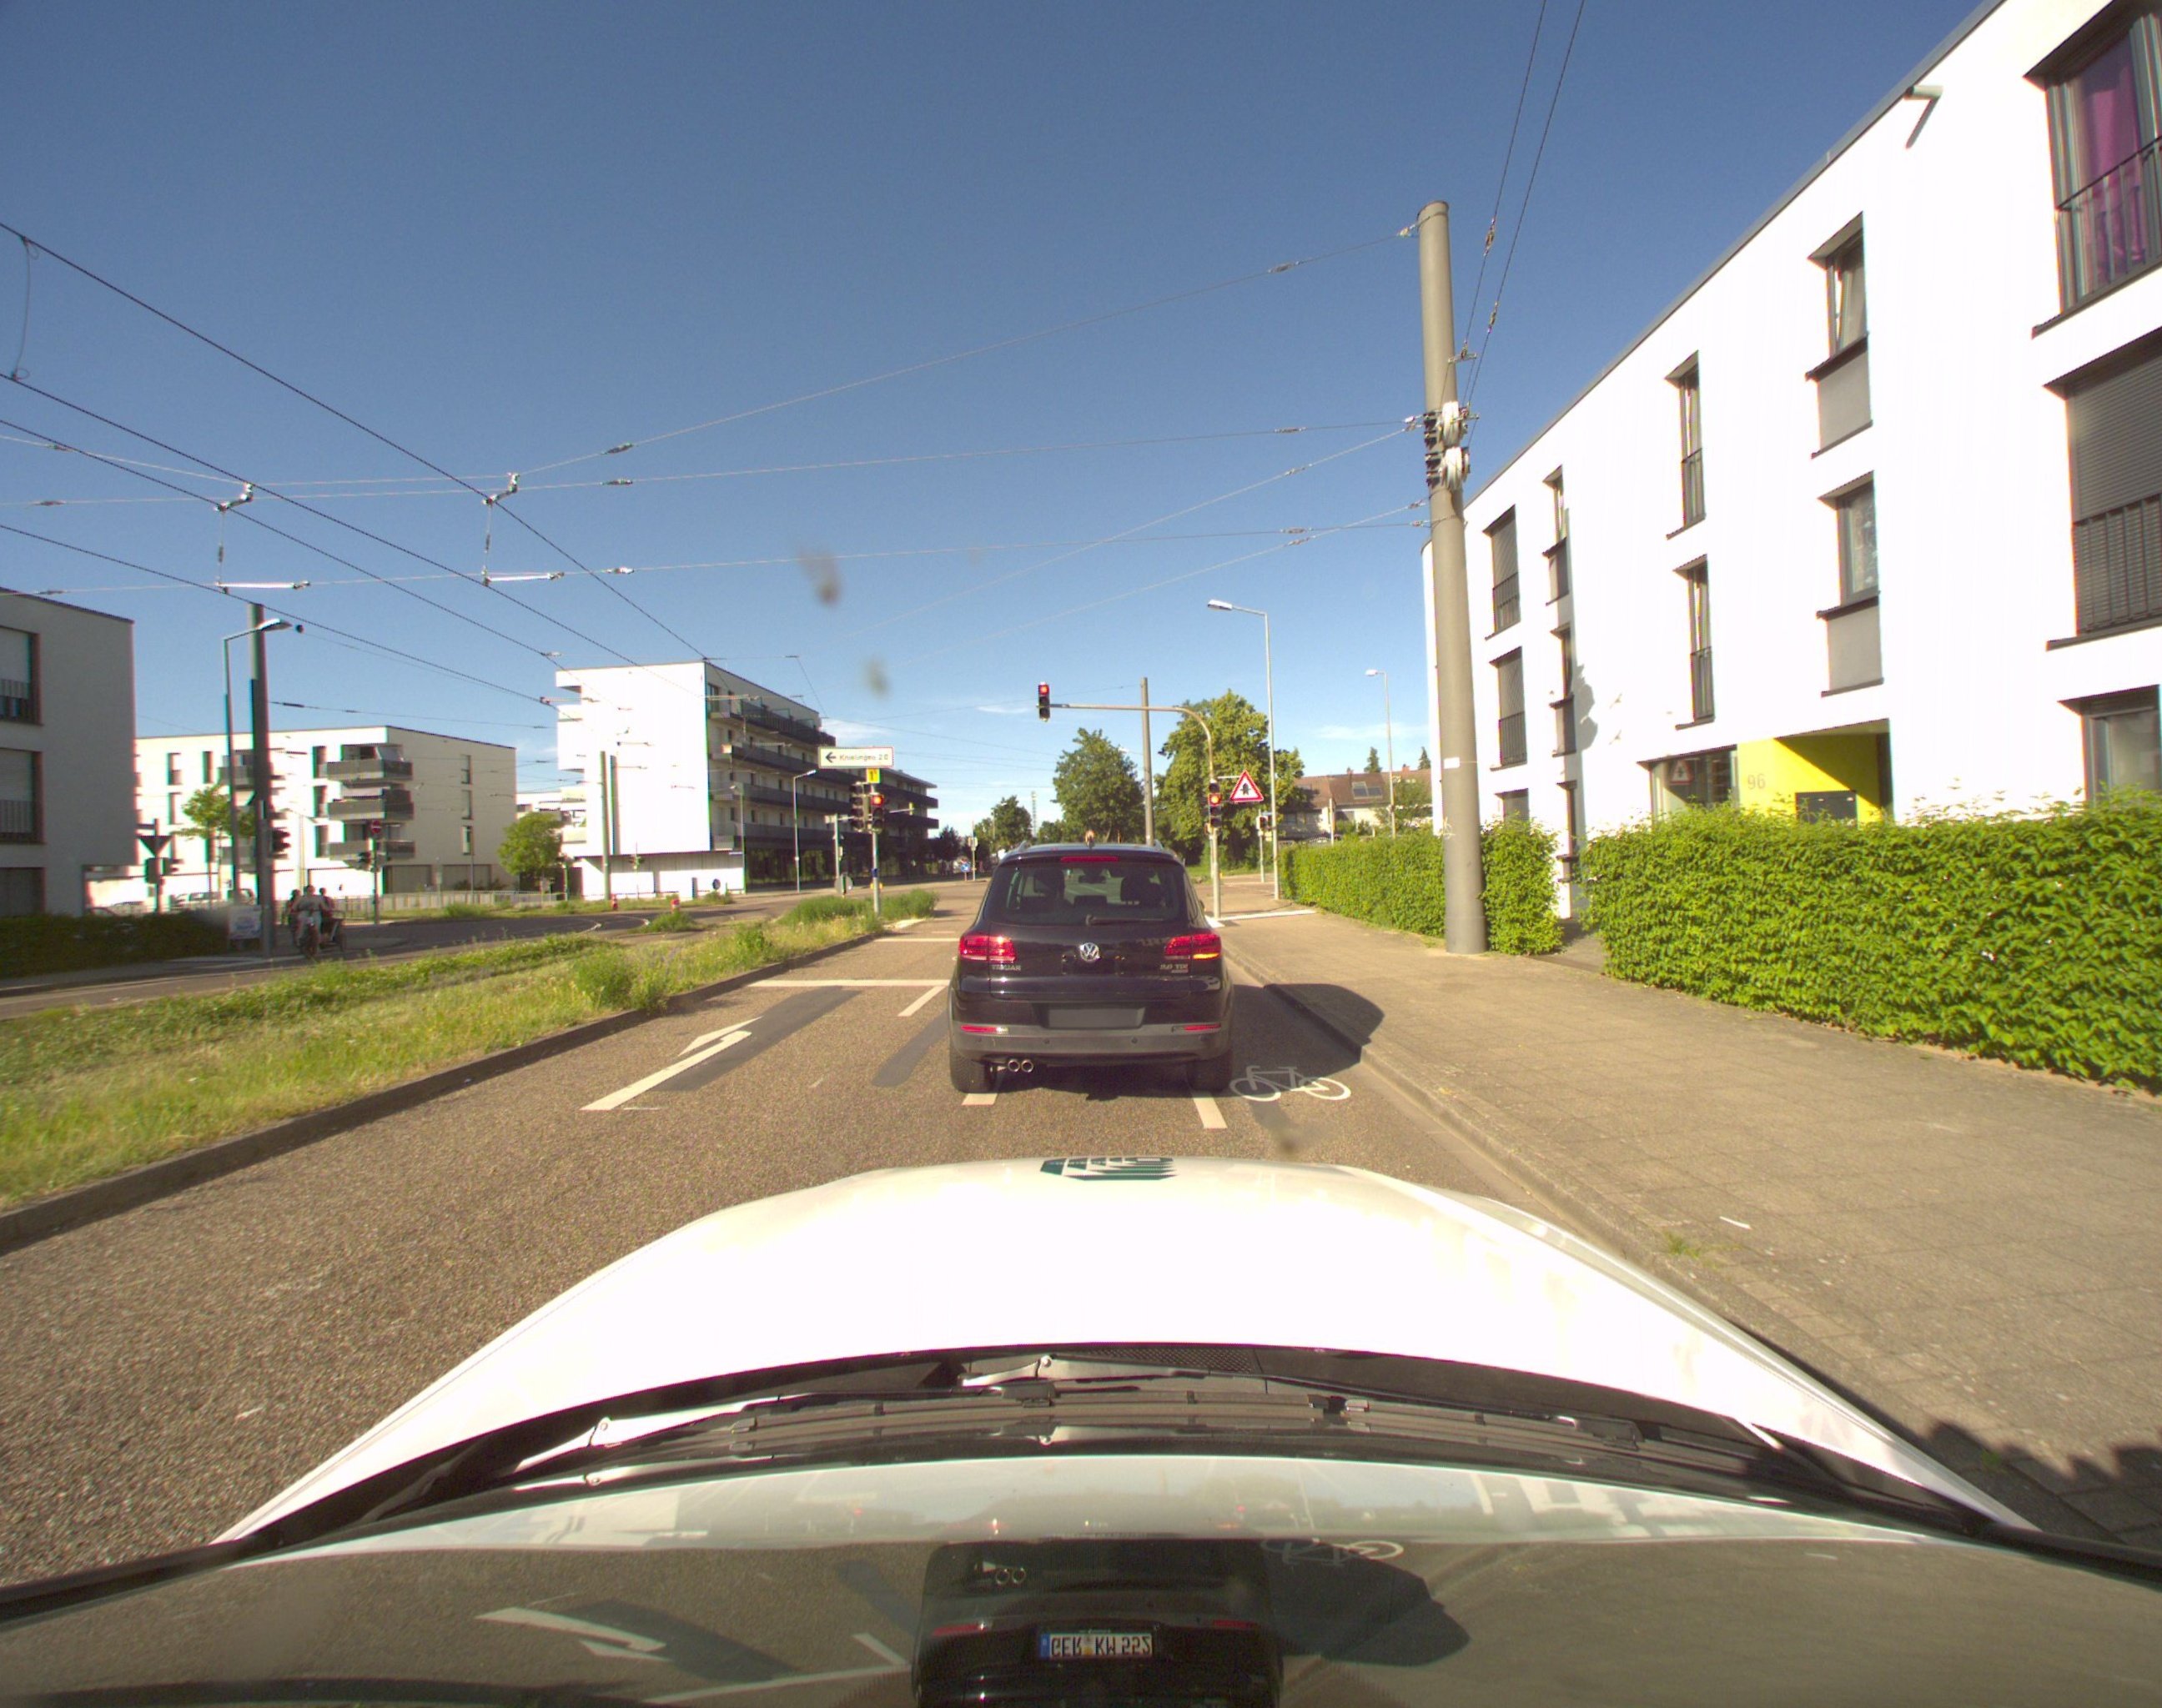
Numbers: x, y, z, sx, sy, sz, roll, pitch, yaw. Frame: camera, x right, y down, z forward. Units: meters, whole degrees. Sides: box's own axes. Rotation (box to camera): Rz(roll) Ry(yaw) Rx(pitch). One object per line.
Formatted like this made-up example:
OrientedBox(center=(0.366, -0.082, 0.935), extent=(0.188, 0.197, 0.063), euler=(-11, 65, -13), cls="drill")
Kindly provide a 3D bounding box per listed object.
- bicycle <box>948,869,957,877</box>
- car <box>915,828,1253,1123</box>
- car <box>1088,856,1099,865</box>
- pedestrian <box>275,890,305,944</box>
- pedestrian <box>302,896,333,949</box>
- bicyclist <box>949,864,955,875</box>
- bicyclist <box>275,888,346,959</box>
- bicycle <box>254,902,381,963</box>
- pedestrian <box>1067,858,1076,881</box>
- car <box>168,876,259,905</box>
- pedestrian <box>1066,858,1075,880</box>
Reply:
OrientedBox(center=(-14.216, 2.062, 90.144), extent=(0.493, 0.848, 2.082), euler=(-1, 0, 6), cls="bicycle")
OrientedBox(center=(0.039, 0.689, 6.626), extent=(1.899, 1.643, 4.000), euler=(-1, 0, 0), cls="car")
OrientedBox(center=(2.080, 1.056, 134.981), extent=(1.745, 1.387, 4.000), euler=(-1, 0, 0), cls="car")
OrientedBox(center=(-22.450, 1.781, 23.123), extent=(0.562, 1.464, 0.734), euler=(-1, 0, -40), cls="pedestrian")
OrientedBox(center=(-21.839, 1.944, 23.302), extent=(0.561, 1.464, 0.605), euler=(-1, 0, -36), cls="pedestrian")
OrientedBox(center=(-14.233, 1.717, 90.097), extent=(0.472, 1.223, 0.713), euler=(-1, 0, 5), cls="bicyclist")
OrientedBox(center=(-18.842, 1.681, 19.941), extent=(0.977, 1.630, 0.905), euler=(-1, 0, -23), cls="bicyclist")
OrientedBox(center=(-19.123, 1.922, 20.560), extent=(1.000, 1.174, 3.669), euler=(1, 0, -21), cls="bicycle")
OrientedBox(center=(-0.695, 1.154, 59.972), extent=(0.600, 1.640, 0.530), euler=(-1, 0, 6), cls="pedestrian")
OrientedBox(center=(-58.715, 2.437, 55.187), extent=(3.974, 1.838, 2.000), euler=(-1, 0, 0), cls="car")
OrientedBox(center=(-0.780, 1.103, 59.367), extent=(0.600, 1.565, 0.530), euler=(-1, 0, 6), cls="pedestrian")
